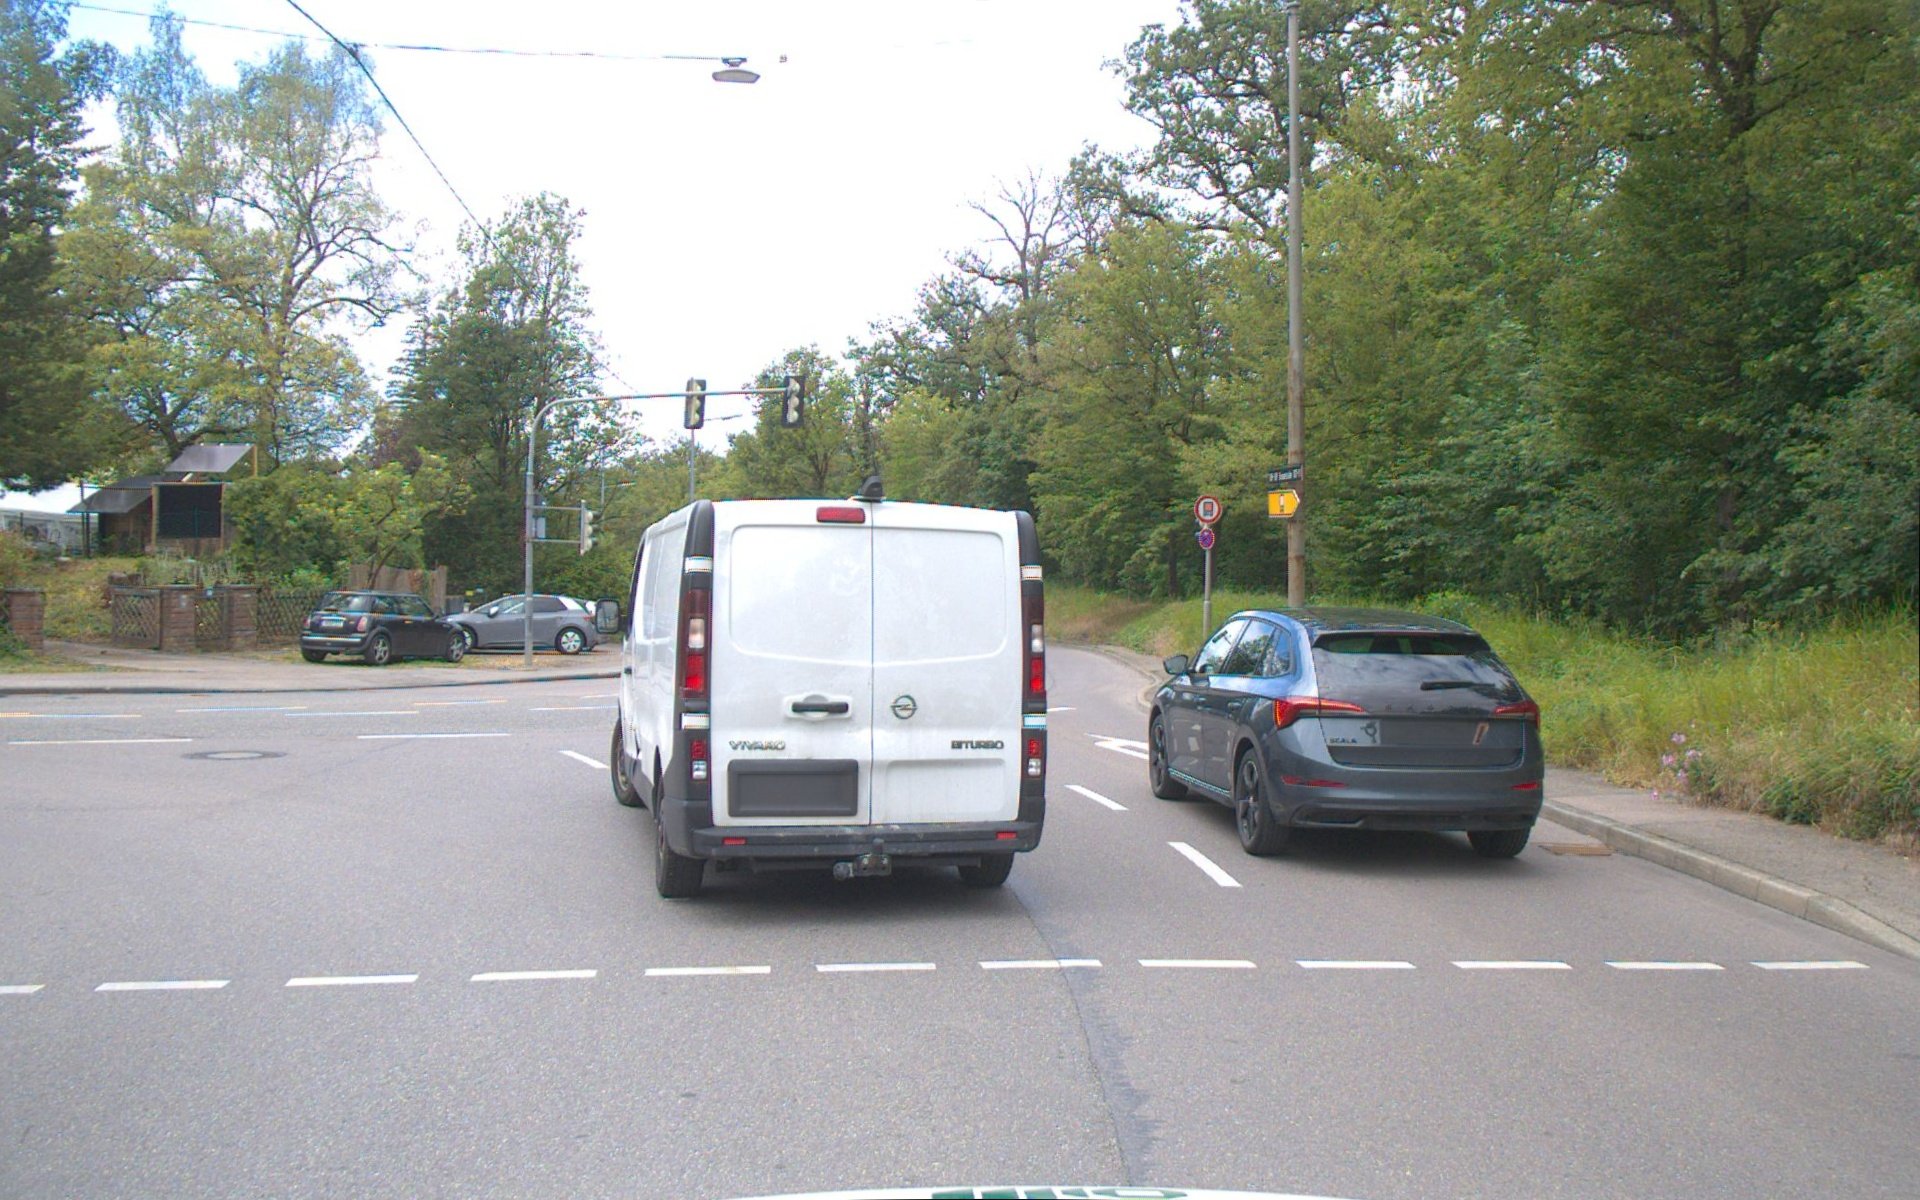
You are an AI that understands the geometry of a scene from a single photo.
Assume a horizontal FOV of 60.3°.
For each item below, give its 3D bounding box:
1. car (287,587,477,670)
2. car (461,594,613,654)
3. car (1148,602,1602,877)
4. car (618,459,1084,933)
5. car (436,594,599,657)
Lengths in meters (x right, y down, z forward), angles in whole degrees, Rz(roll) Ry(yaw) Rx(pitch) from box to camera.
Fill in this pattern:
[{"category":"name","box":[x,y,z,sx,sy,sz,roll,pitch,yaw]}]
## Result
[{"category":"car","box":[-11.433,0.557,32.936,1.662,1.474,3.544,3,0,19]},{"category":"car","box":[-11.822,0.670,46.181,4.022,1.580,1.846,1,1,-18]},{"category":"car","box":[2.517,0.773,11.080,1.757,1.476,3.996,1,0,-5]},{"category":"car","box":[-0.919,0.406,9.766,1.885,2.089,4.595,0,0,-15]},{"category":"car","box":[-11.533,0.657,43.137,4.022,1.580,1.846,1,1,-18]}]
